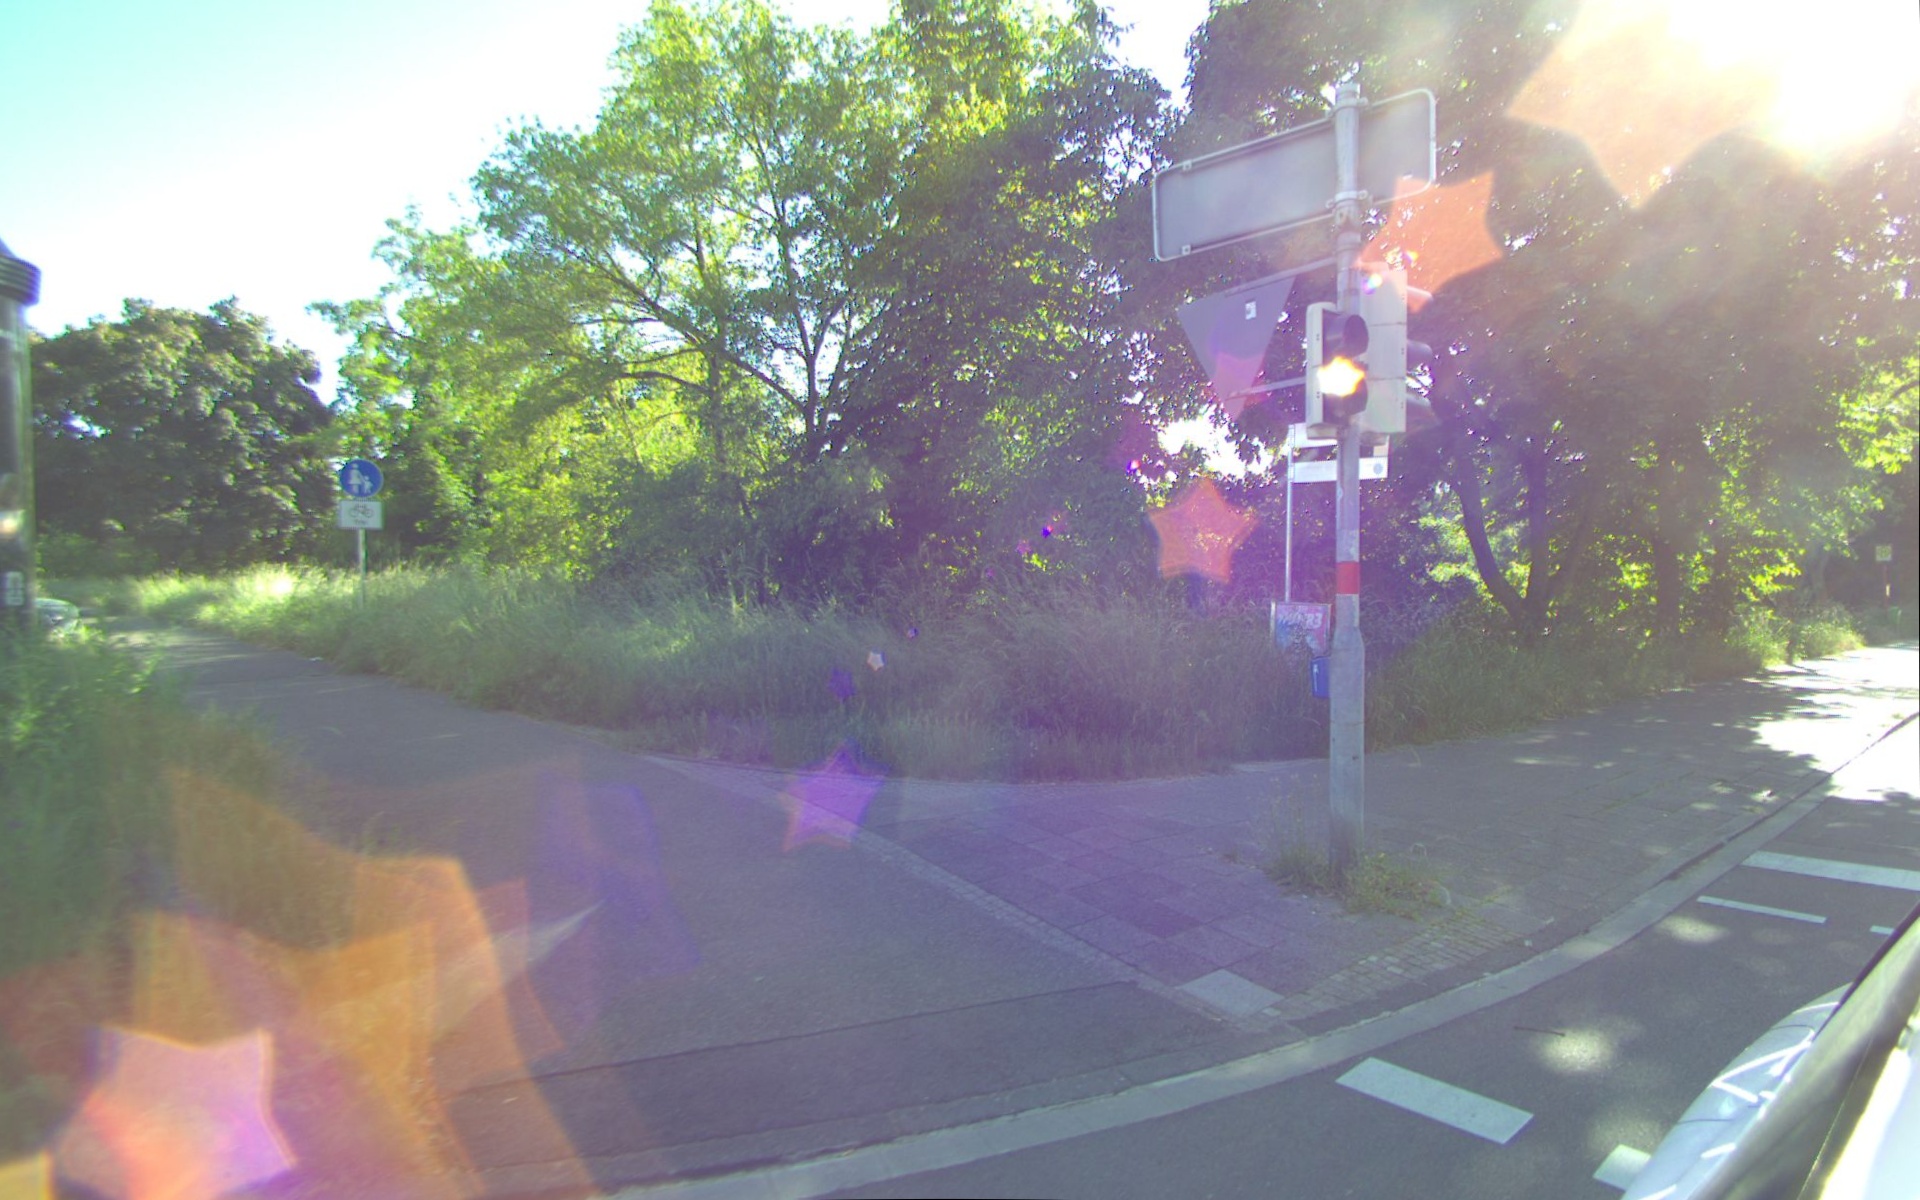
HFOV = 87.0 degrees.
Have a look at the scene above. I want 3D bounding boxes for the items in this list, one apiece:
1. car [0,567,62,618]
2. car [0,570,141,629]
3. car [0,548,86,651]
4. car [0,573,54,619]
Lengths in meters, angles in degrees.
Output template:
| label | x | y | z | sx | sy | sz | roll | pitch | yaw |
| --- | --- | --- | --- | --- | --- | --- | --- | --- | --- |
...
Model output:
| label | x | y | z | sx | sy | sz | roll | pitch | yaw |
| --- | --- | --- | --- | --- | --- | --- | --- | --- | --- |
| car | -31.655 | -0.160 | 32.471 | 4.131 | 1.550 | 1.864 | -6 | 3 | -45 |
| car | -27.823 | -0.002 | 30.929 | 4.131 | 1.550 | 1.864 | -6 | 3 | -45 |
| car | -17.472 | 0.104 | 16.761 | 4.378 | 1.670 | 1.864 | -6 | 3 | -45 |
| car | -33.898 | -0.151 | 34.738 | 4.128 | 1.551 | 1.864 | 0 | 1 | -45 |
